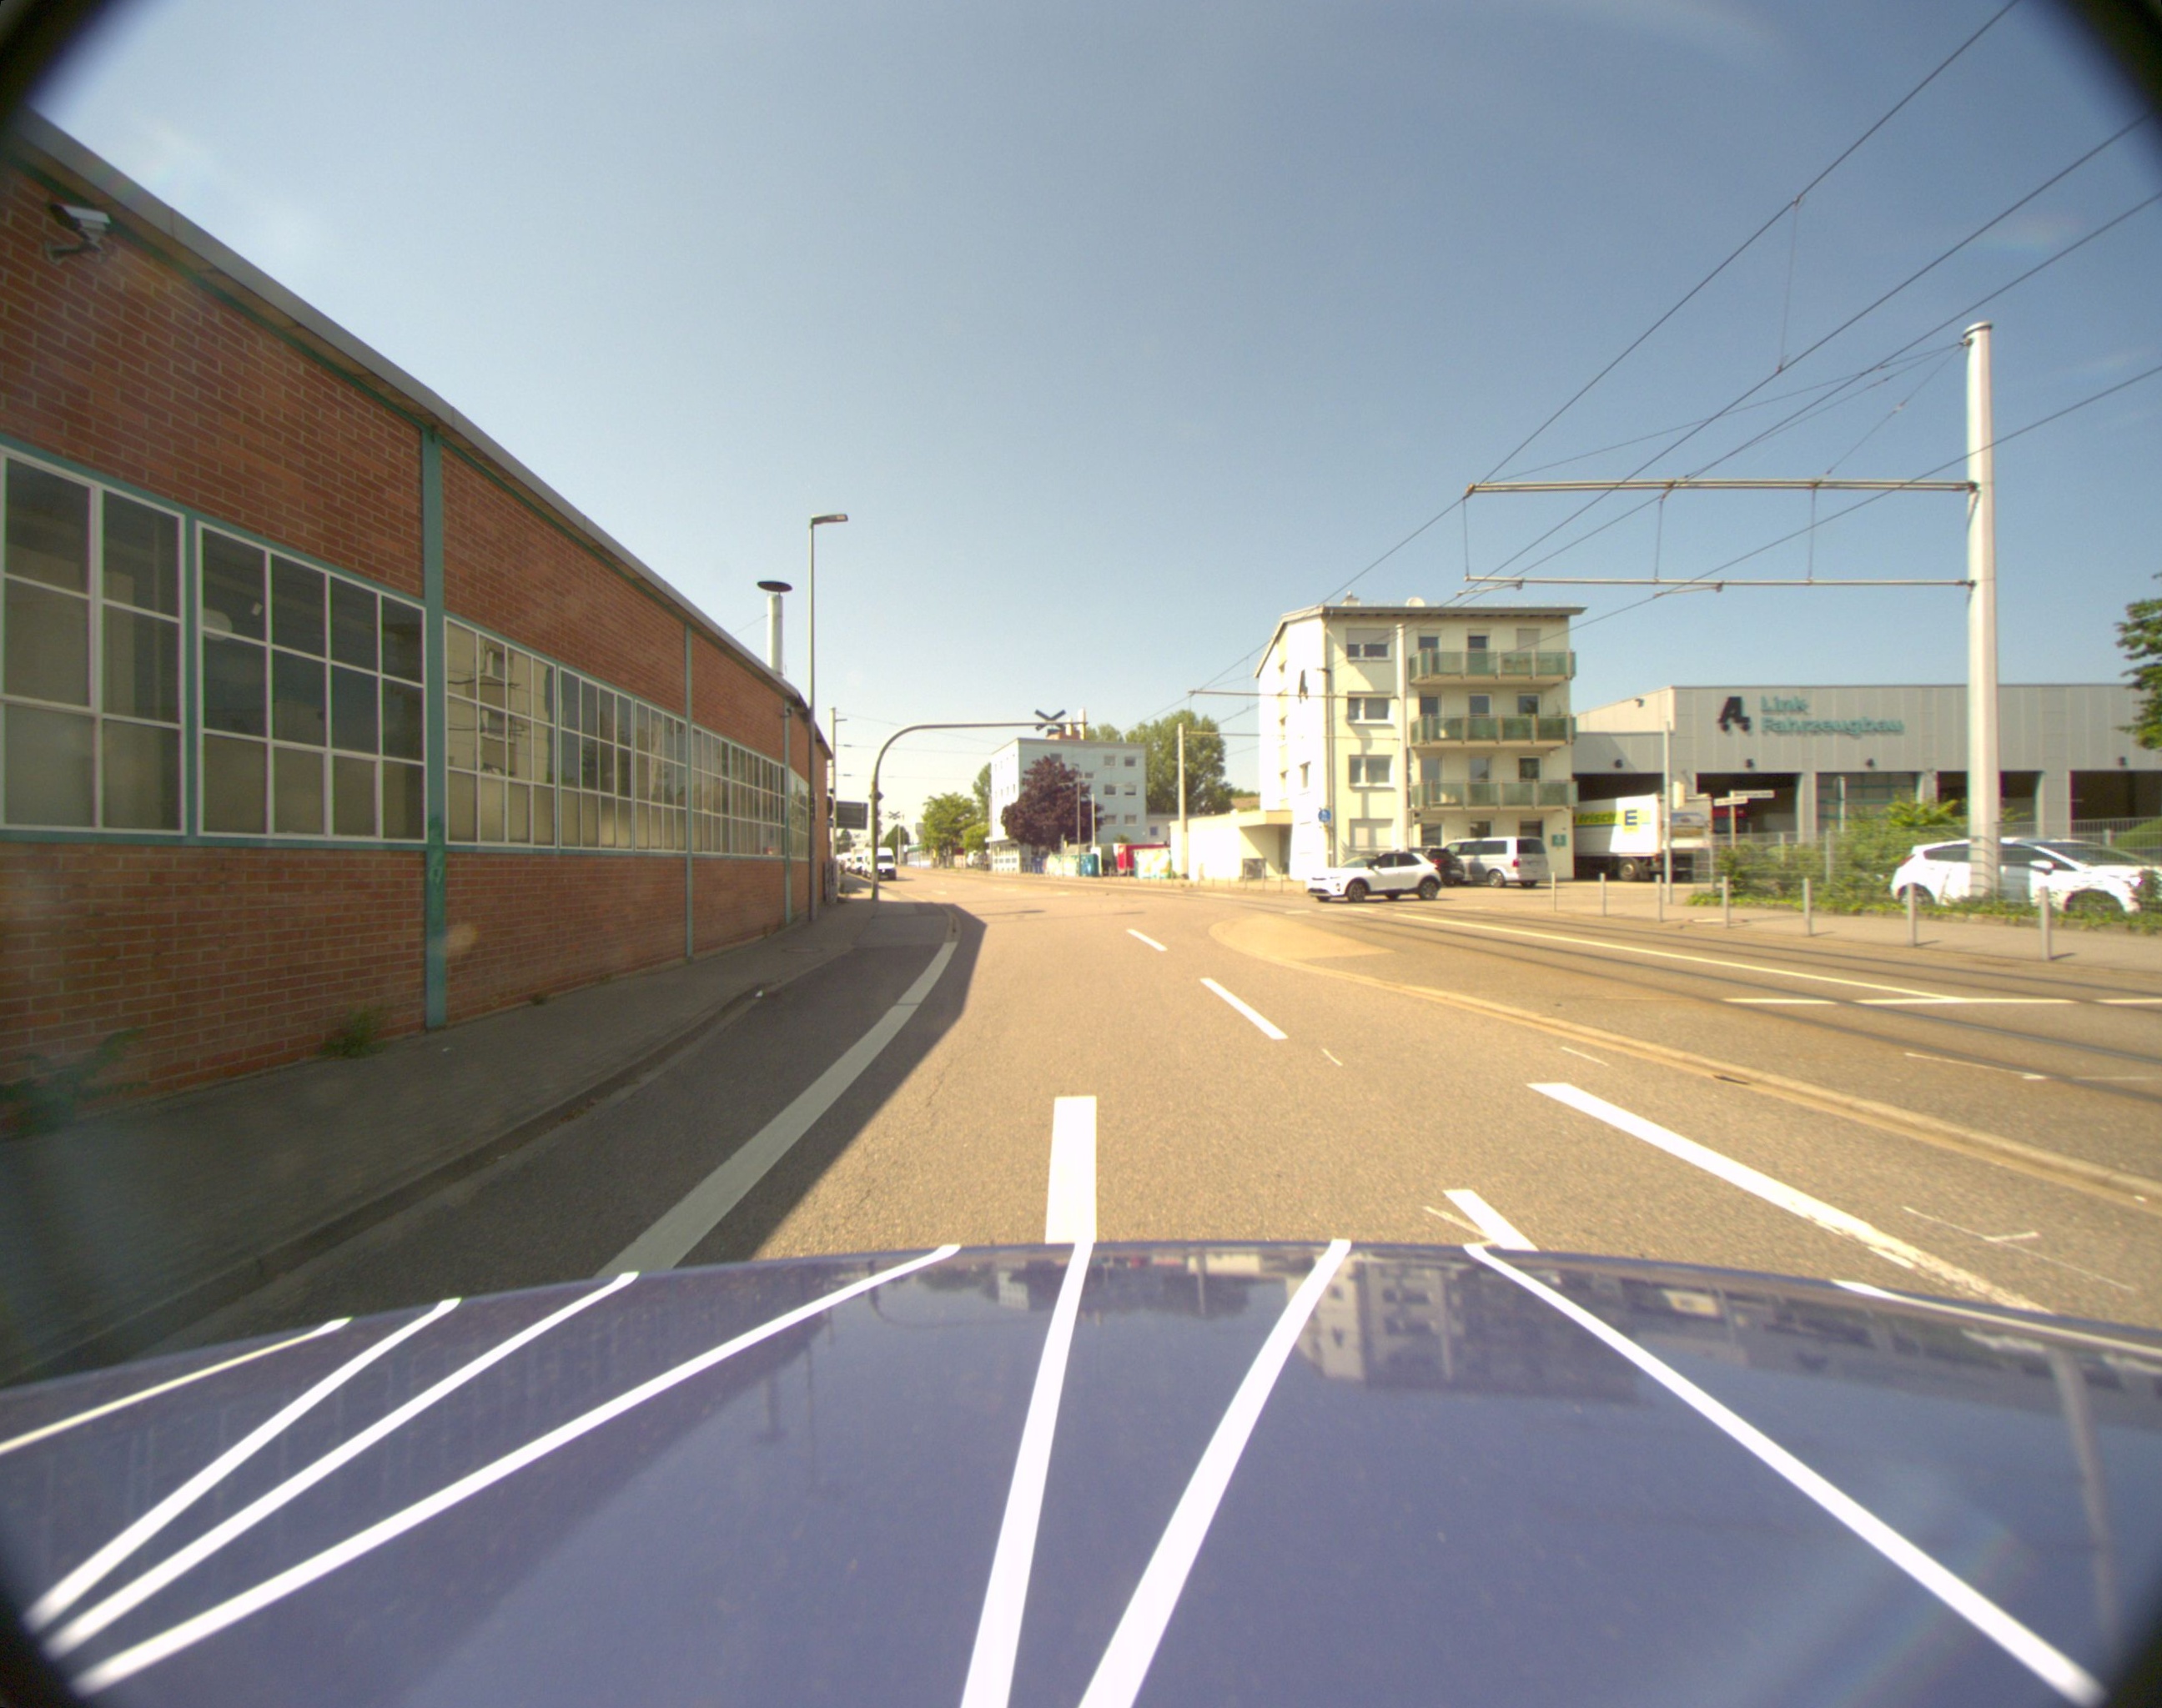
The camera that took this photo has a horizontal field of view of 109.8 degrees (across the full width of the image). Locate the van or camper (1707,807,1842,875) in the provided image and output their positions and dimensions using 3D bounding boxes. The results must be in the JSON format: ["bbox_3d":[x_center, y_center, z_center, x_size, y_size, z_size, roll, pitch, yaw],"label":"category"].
[{"bbox_3d":[34.871,-0.584,38.454,1.999,3.186,5.058,-1,-1,-3],"label":"van or camper"}]

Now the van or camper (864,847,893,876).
[{"bbox_3d":[-18.357,0.677,68.718,2.046,2.519,5.572,-1,0,-20],"label":"van or camper"}]

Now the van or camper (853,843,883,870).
[{"bbox_3d":[-23.285,0.270,82.751,2.527,2.770,7.104,-1,0,-20],"label":"van or camper"}]

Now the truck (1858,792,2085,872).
[{"bbox_3d":[45.927,-1.038,39.697,2.623,3.760,7.860,-1,0,0],"label":"truck"}]

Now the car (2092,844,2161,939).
[{"bbox_3d":[19.110,0.574,11.848,1.767,1.611,3.841,-2,-3,8],"label":"car"}]

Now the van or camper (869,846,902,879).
[{"bbox_3d":[-15.925,0.651,61.590,2.046,2.519,5.859,-1,0,-20],"label":"van or camper"}]

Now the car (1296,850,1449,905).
[{"bbox_3d":[8.821,0.672,23.048,4.112,1.521,1.735,-1,0,-17],"label":"car"}]

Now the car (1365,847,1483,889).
[{"bbox_3d":[13.523,0.526,30.155,1.883,1.512,3.965,-1,0,-26],"label":"car"}]

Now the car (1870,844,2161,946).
[{"bbox_3d":[16.266,0.567,12.870,1.712,1.425,3.954,-2,1,1],"label":"car"}]

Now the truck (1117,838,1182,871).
[{"bbox_3d":[5.646,0.058,62.782,4.836,2.611,2.186,-1,0,-14],"label":"truck"}]

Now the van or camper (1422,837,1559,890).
[{"bbox_3d":[16.011,0.326,29.987,2.002,1.897,4.547,0,0,-21],"label":"van or camper"}]

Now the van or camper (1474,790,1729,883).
[{"bbox_3d":[23.841,-0.685,36.147,2.781,3.671,11.629,-1,0,-9],"label":"van or camper"}]
